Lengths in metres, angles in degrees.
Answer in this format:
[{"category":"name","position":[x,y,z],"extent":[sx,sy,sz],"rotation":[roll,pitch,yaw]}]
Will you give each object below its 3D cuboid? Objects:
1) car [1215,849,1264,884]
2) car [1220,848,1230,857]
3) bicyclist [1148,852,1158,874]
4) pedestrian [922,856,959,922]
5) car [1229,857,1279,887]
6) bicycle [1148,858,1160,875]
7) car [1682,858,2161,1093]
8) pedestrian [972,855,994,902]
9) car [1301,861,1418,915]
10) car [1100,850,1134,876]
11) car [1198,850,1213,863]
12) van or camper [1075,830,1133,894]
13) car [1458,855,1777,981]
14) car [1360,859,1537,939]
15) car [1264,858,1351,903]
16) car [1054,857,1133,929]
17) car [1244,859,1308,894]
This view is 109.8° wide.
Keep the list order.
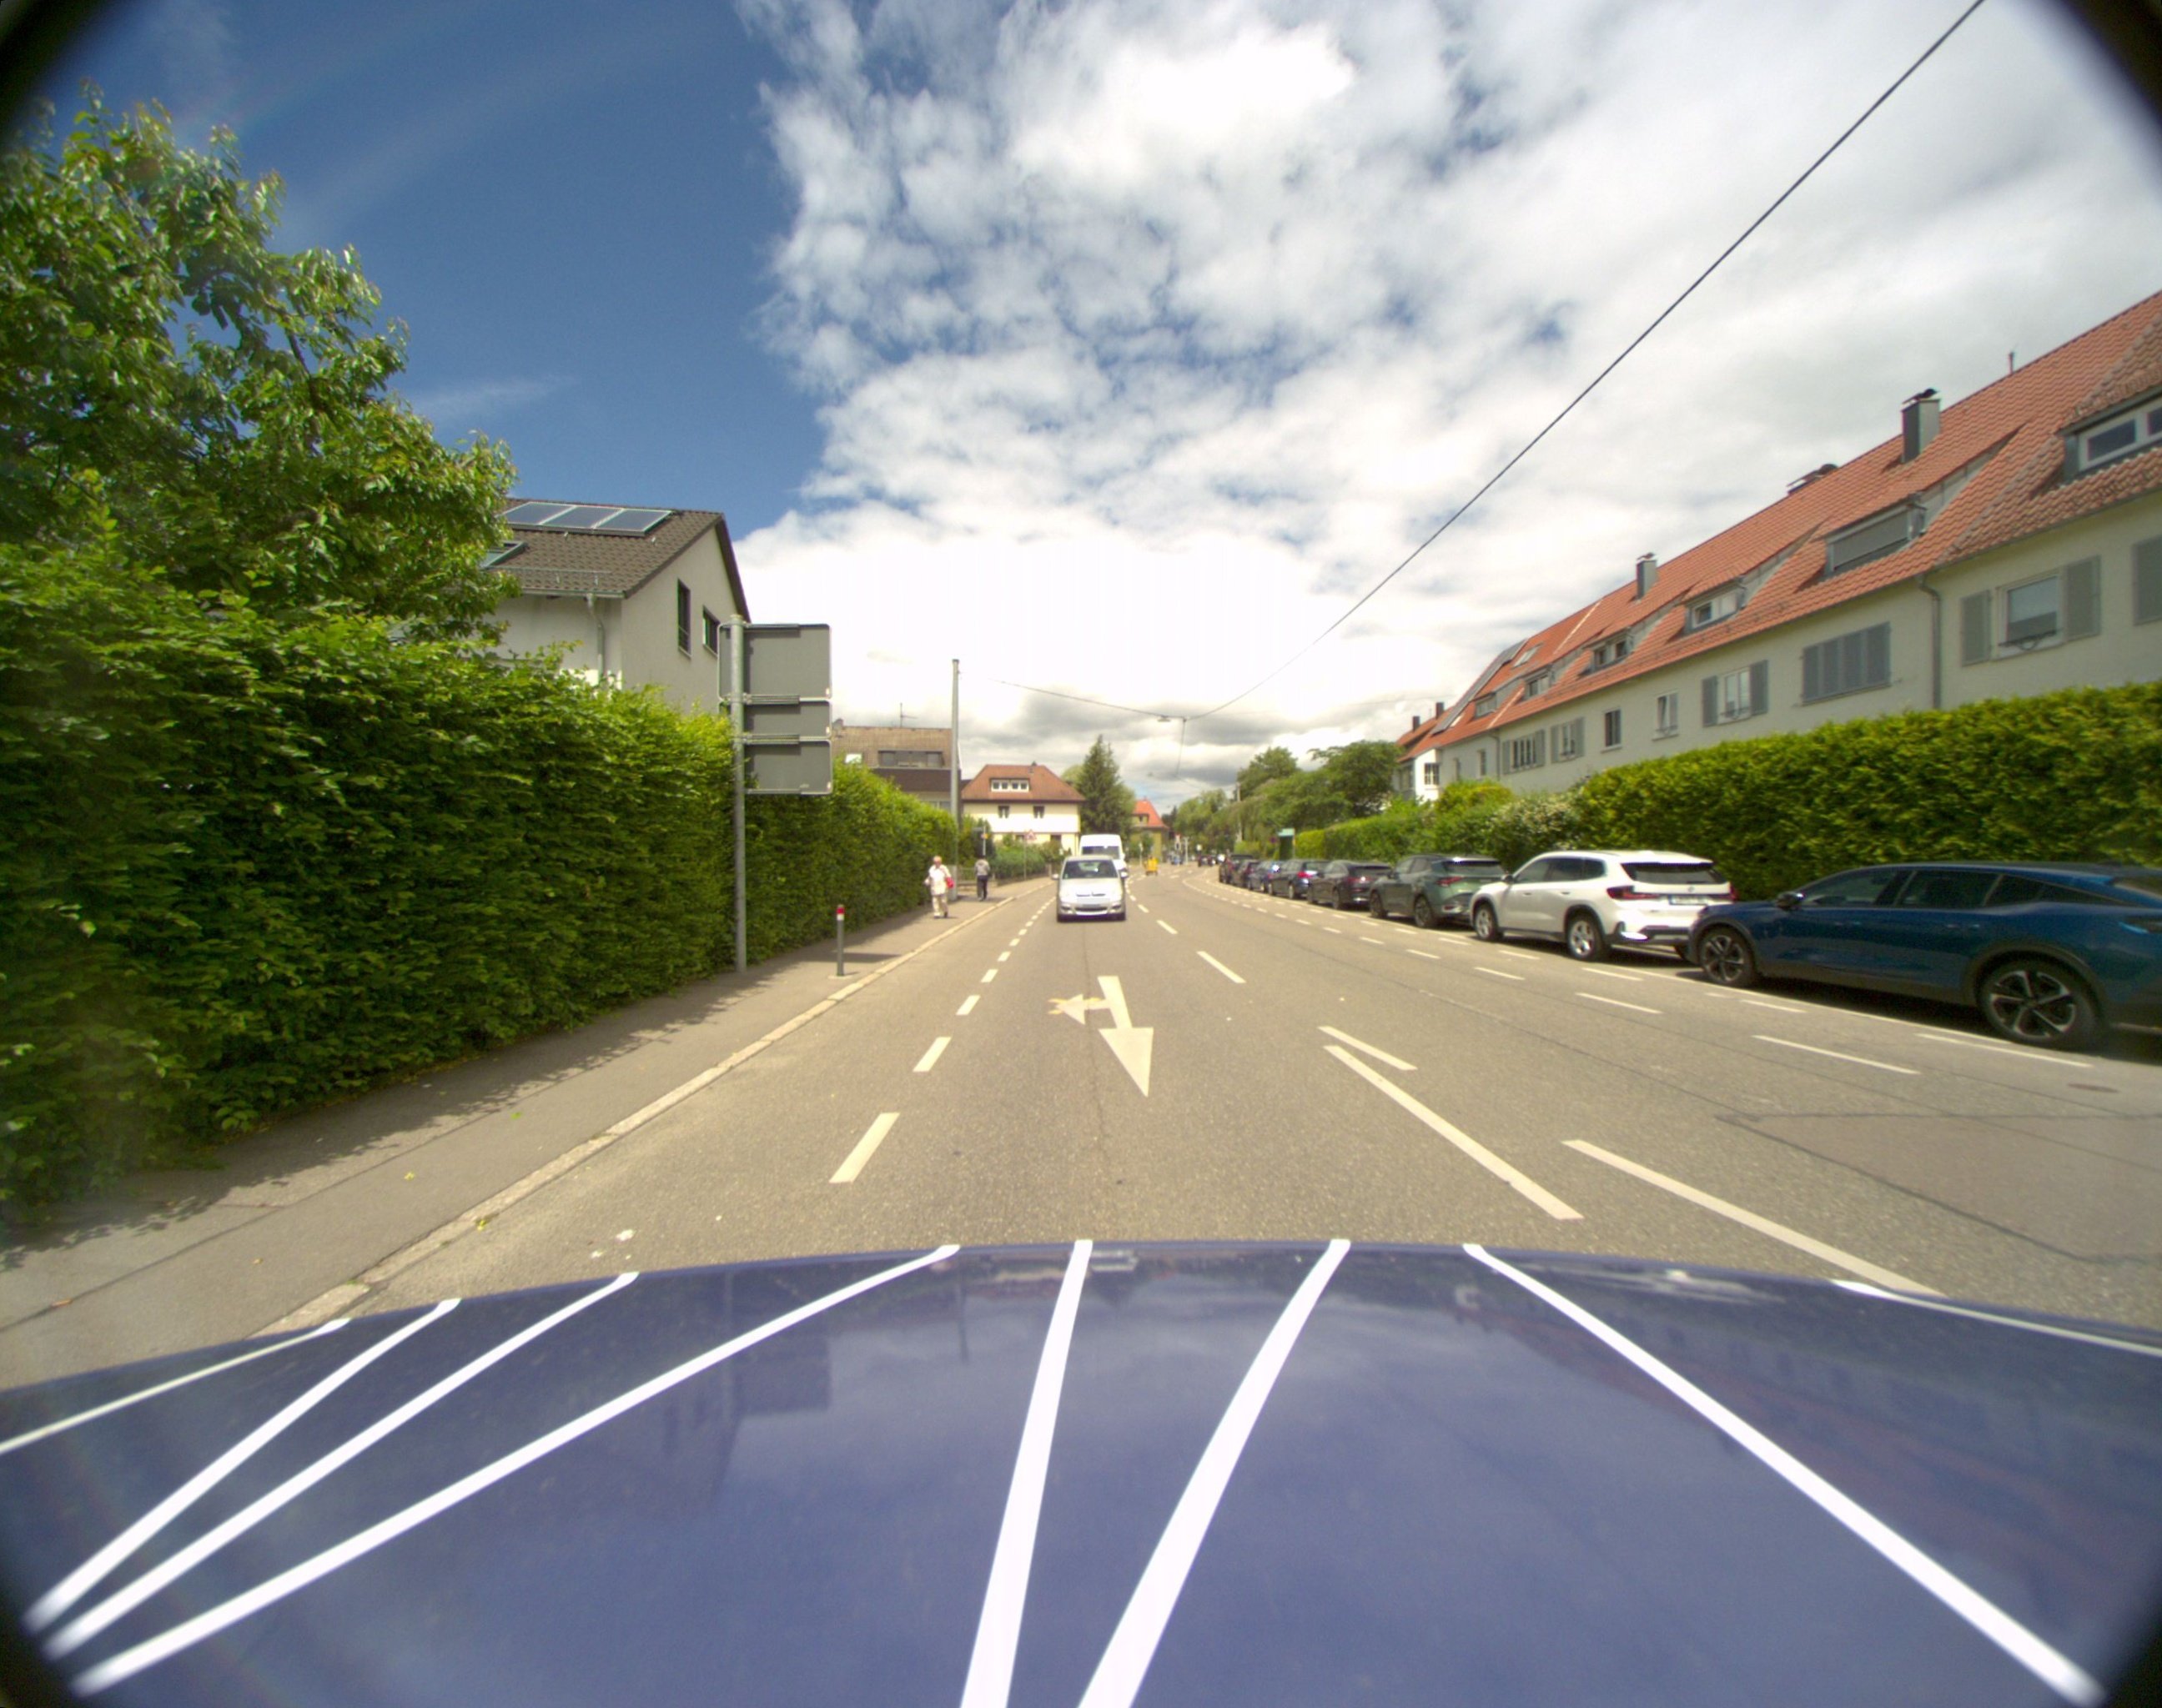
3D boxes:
[{"category":"car","position":[9.214,0.664,44.556],"extent":[1.998,1.884,5.404],"rotation":[1,0,3]},{"category":"car","position":[28.302,-0.304,149.160],"extent":[1.850,1.565,4.162],"rotation":[-1,0,10]},{"category":"bicyclist","position":[5.686,0.697,59.801],"extent":[0.794,1.704,1.209],"rotation":[-1,0,5]},{"category":"pedestrian","position":[-3.528,0.869,19.115],"extent":[0.801,1.608,0.653],"rotation":[1,1,2]},{"category":"car","position":[8.825,0.900,39.078],"extent":[1.782,1.409,4.340],"rotation":[0,0,3]},{"category":"bicycle","position":[5.702,0.963,59.715],"extent":[0.865,1.294,2.662],"rotation":[-1,0,4]},{"category":"car","position":[8.440,0.852,7.132],"extent":[1.999,1.578,4.488],"rotation":[-1,0,-1]},{"category":"pedestrian","position":[-3.419,0.855,26.547],"extent":[0.604,1.596,0.836],"rotation":[1,1,2]},{"category":"car","position":[8.296,0.946,23.134],"extent":[1.998,1.400,4.690],"rotation":[0,0,2]},{"category":"car","position":[2.696,0.606,56.145],"extent":[1.931,1.771,4.003],"rotation":[-2,0,11]},{"category":"car","position":[16.962,0.370,103.469],"extent":[1.919,1.639,4.297],"rotation":[3,1,11]},{"category":"van or camper","position":[1.131,0.392,34.235],"extent":[2.029,2.564,5.926],"rotation":[-2,-1,6]},{"category":"car","position":[8.214,0.851,12.307],"extent":[1.998,1.641,4.517],"rotation":[0,0,0]},{"category":"car","position":[8.269,0.924,17.660],"extent":[1.998,1.555,4.690],"rotation":[0,0,2]},{"category":"car","position":[8.359,0.929,28.502],"extent":[1.782,1.483,4.564],"rotation":[-1,0,-2]},{"category":"car","position":[0.427,0.885,19.108],"extent":[1.707,1.531,4.332],"rotation":[-2,0,4]},{"category":"car","position":[8.562,0.955,33.693],"extent":[1.782,1.409,4.440],"rotation":[0,0,1]}]
